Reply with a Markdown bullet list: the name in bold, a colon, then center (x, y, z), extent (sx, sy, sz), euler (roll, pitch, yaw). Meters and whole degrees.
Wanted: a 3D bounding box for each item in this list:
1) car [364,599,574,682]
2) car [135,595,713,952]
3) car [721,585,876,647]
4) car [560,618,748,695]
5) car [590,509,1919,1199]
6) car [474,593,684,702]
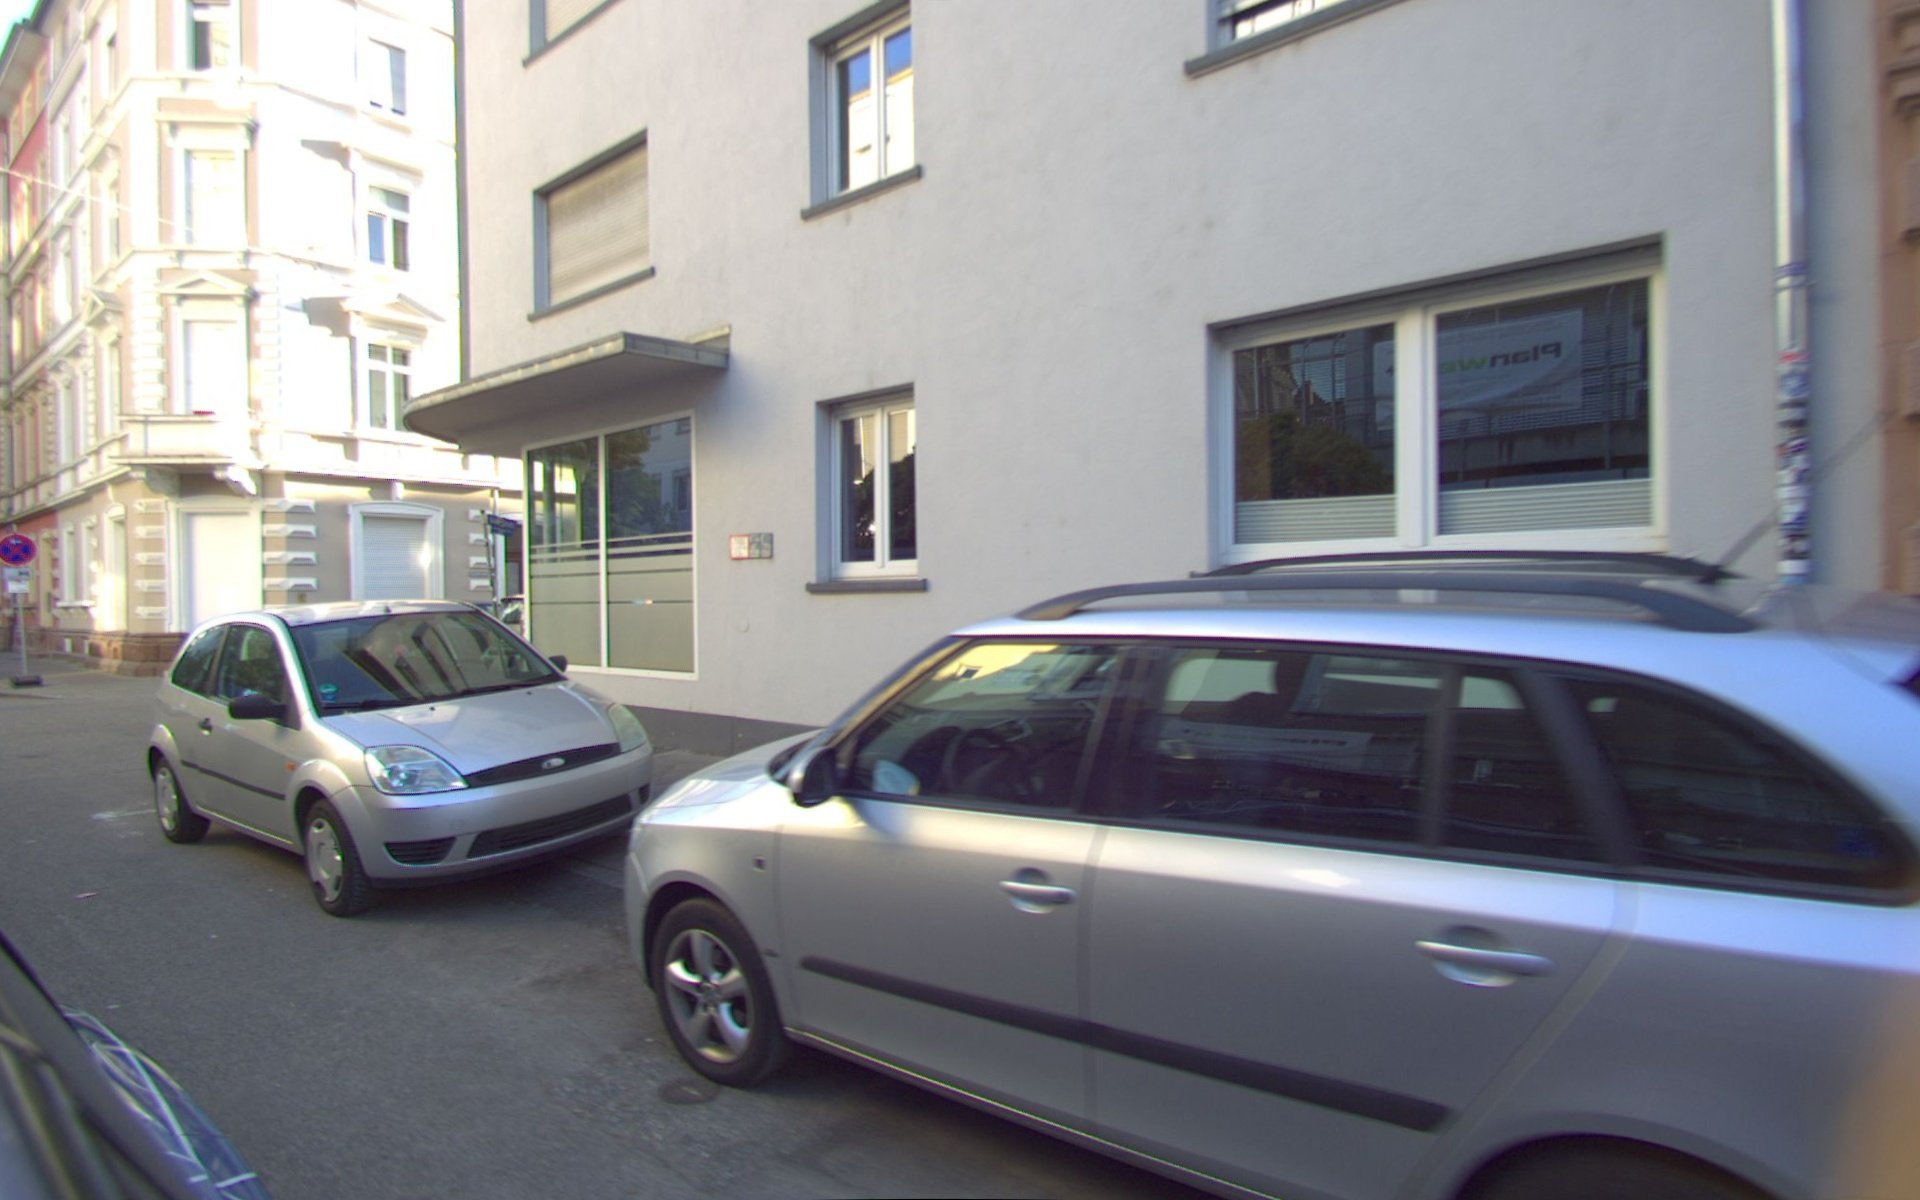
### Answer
- **car**: center (-10.076, 0.769, 20.977), extent (1.683, 1.490, 3.549), euler (-1, 0, 34)
- **car**: center (-3.233, 0.727, 5.875), extent (3.549, 1.441, 1.617), euler (-1, 0, 37)
- **car**: center (-4.463, 0.405, 28.445), extent (2.006, 1.572, 4.042), euler (-1, 0, 37)
- **car**: center (-7.291, 1.278, 24.418), extent (1.832, 1.572, 4.043), euler (-1, 0, 36)
- **car**: center (0.697, 0.615, 2.783), extent (3.593, 1.519, 1.540), euler (-1, 2, 39)
- **car**: center (-6.158, 0.700, 16.500), extent (1.647, 1.577, 2.727), euler (-1, 0, 40)
